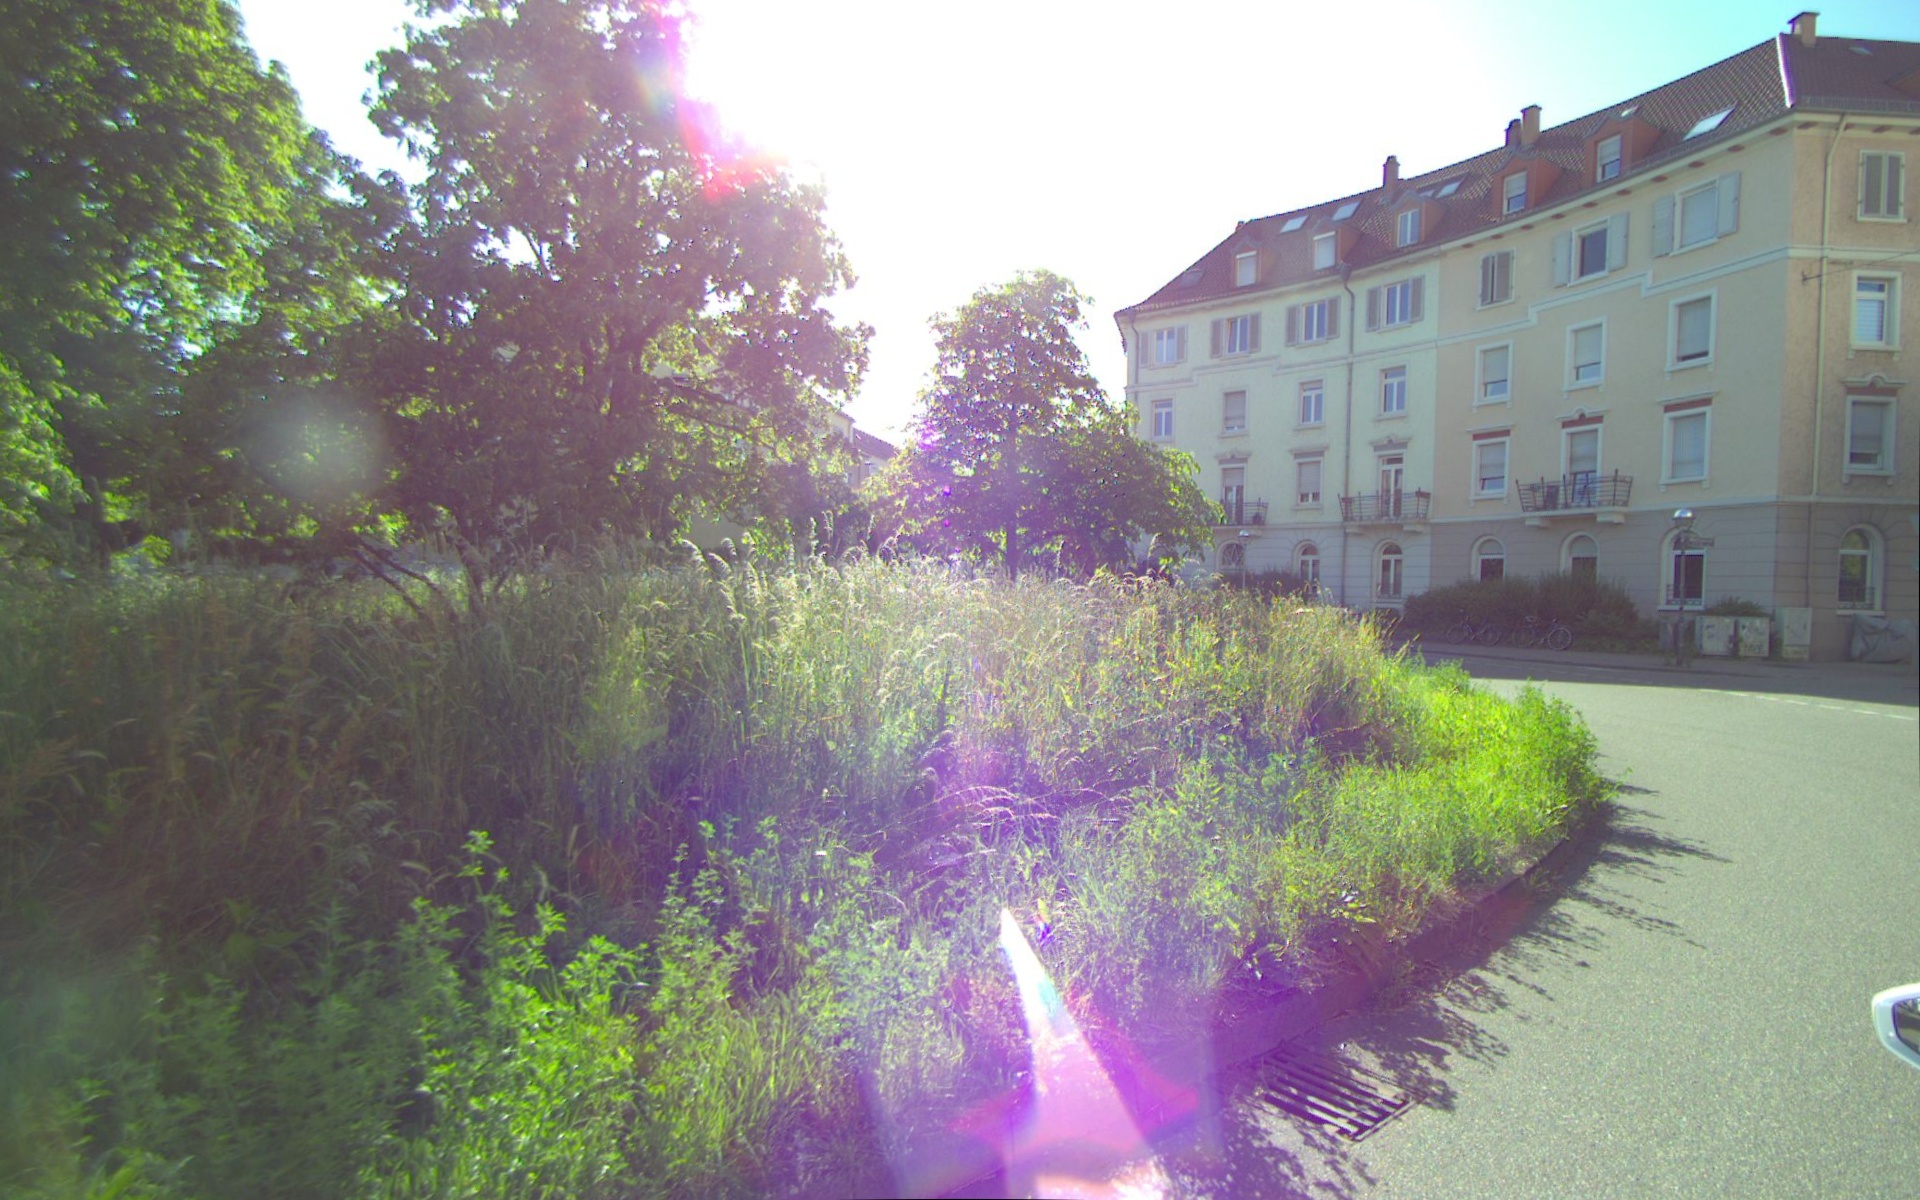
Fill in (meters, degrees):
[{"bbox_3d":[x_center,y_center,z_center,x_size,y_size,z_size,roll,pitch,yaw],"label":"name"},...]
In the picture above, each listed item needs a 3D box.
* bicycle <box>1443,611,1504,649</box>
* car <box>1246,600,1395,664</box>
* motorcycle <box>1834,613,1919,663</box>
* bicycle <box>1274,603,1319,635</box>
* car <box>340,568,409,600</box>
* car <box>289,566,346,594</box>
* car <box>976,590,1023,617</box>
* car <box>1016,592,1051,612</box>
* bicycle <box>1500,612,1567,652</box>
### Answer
[{"bbox_3d":[16.154,0.935,31.623,0.497,1.103,1.670,-1,2,-34],"label":"bicycle"},{"bbox_3d":[9.183,0.766,25.953,1.838,1.438,3.991,0,1,-11],"label":"car"},{"bbox_3d":[24.744,1.016,26.719,2.111,1.237,0.942,1,2,-1],"label":"motorcycle"},{"bbox_3d":[12.433,0.687,37.149,0.497,1.103,1.671,-1,2,-32],"label":"bicycle"},{"bbox_3d":[-27.720,-0.751,47.504,4.428,1.430,1.722,1,0,45],"label":"car"},{"bbox_3d":[-35.803,-1.114,55.942,4.327,1.458,1.724,2,1,44],"label":"car"},{"bbox_3d":[2.224,0.172,55.880,1.764,1.432,4.002,1,0,15],"label":"car"},{"bbox_3d":[4.852,0.111,66.030,1.763,1.272,3.721,1,0,13],"label":"car"},{"bbox_3d":[17.050,0.928,29.888,0.497,1.103,1.670,-1,2,-34],"label":"bicycle"}]
